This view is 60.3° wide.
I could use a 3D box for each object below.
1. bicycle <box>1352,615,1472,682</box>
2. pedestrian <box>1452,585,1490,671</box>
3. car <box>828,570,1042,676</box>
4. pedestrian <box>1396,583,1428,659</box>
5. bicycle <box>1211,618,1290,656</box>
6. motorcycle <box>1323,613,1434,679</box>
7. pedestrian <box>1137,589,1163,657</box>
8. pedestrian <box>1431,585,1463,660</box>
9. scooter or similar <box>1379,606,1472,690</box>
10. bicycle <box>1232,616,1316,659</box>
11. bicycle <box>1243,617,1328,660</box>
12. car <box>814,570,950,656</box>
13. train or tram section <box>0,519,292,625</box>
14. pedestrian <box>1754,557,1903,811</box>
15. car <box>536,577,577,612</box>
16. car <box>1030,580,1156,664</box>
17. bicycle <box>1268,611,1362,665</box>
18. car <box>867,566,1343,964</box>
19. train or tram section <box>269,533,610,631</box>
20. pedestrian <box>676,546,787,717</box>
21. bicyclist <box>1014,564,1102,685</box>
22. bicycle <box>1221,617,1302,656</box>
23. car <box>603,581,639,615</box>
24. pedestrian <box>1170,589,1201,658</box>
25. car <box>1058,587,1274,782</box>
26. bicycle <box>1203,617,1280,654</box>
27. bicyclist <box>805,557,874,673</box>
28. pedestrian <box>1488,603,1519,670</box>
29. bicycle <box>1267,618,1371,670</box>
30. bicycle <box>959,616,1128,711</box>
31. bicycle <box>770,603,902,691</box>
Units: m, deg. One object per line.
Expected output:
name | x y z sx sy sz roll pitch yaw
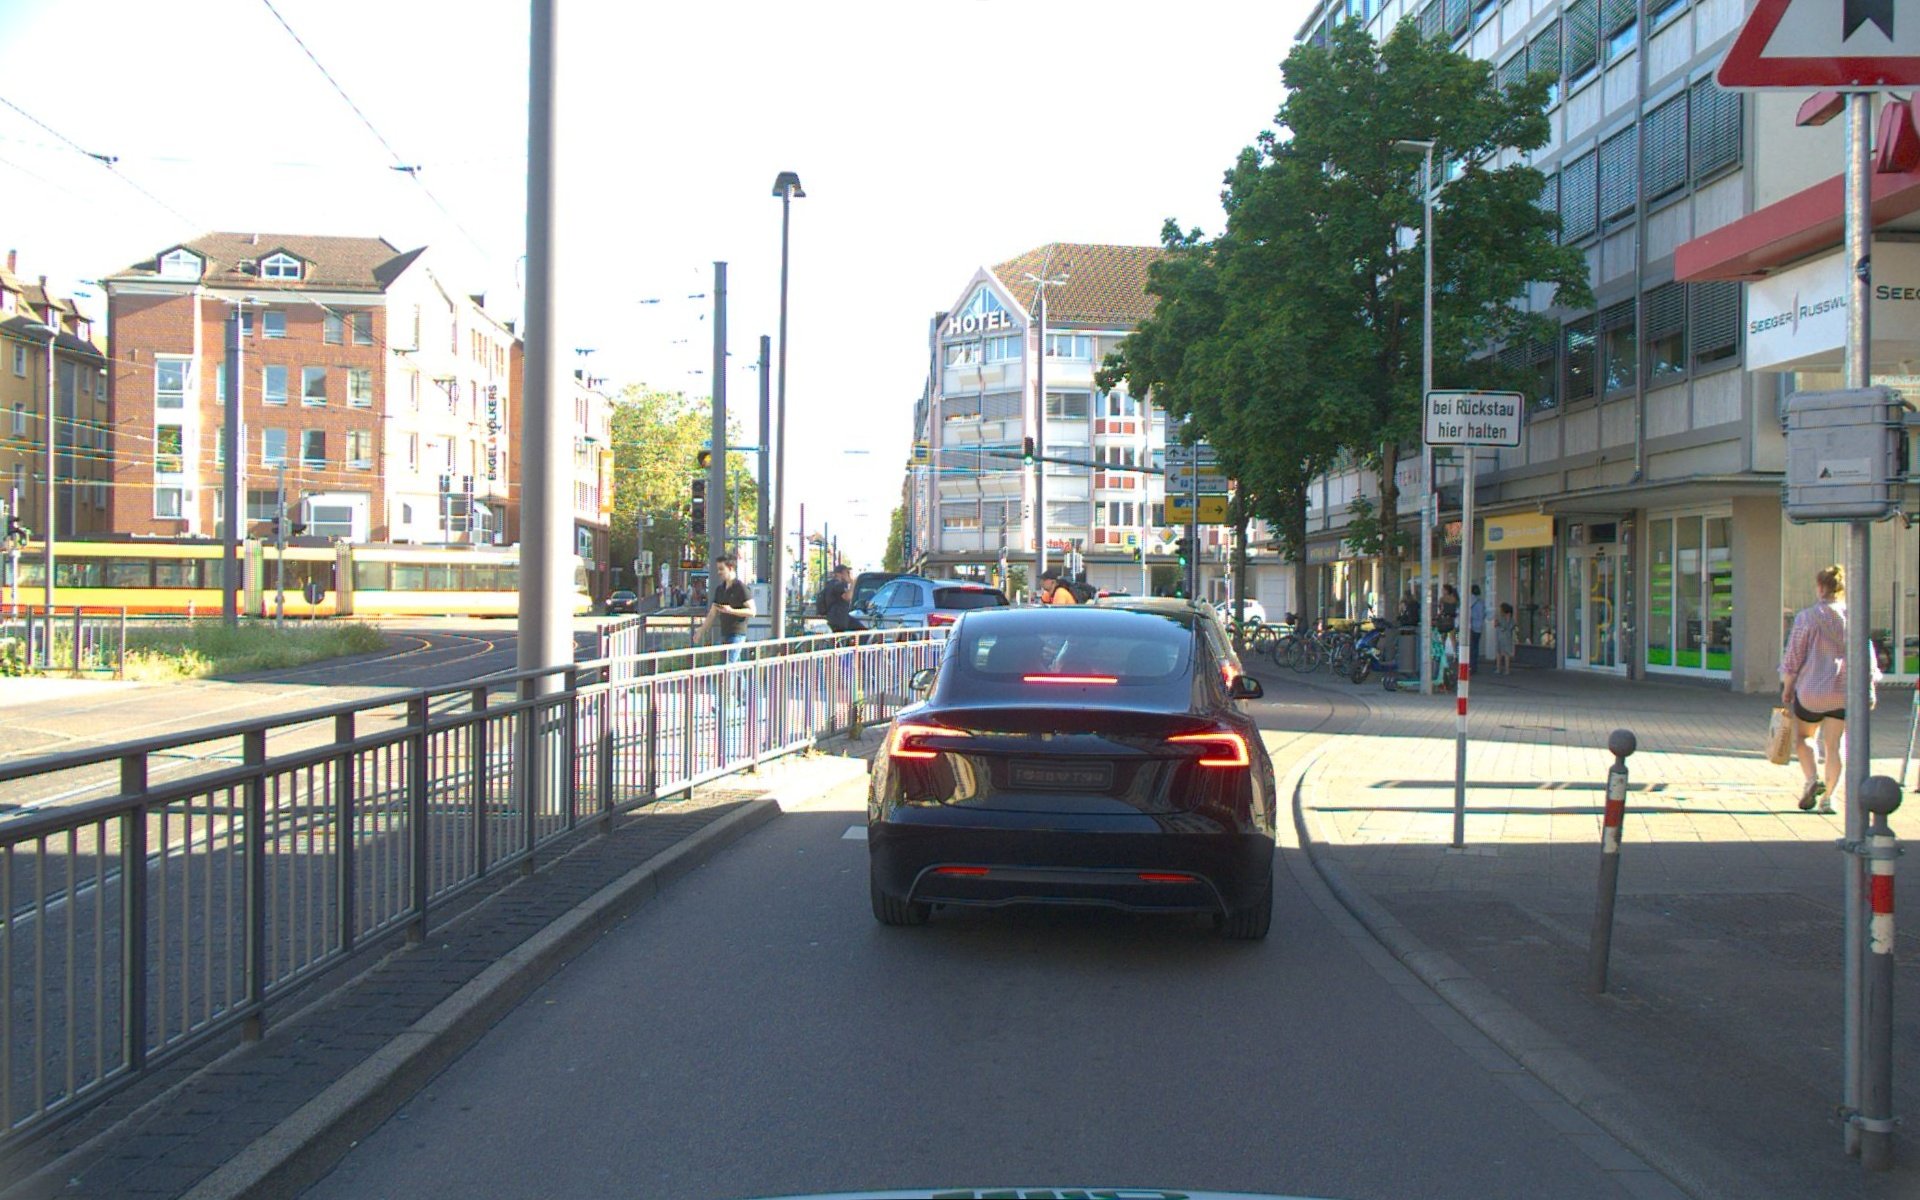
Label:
bicycle | 8.081 0.866 29.605 2.010 1.141 0.482 1 0 -2
pedestrian | 10.024 0.543 32.441 0.583 1.670 0.466 0 0 -1
car | -0.496 0.327 26.796 1.762 1.545 4.181 3 0 -27
pedestrian | 10.050 0.466 36.777 0.520 1.670 0.606 0 0 -1
bicycle | 7.331 0.926 41.798 1.885 0.906 0.526 1 0 -2
motorcycle | 7.996 0.874 31.630 1.951 1.147 0.596 3 0 -3
pedestrian | 4.861 0.578 42.330 0.550 1.712 0.750 2 0 2
pedestrian | 10.929 0.493 37.118 0.520 1.670 0.593 0 0 -1
scooter or similar | 7.658 0.786 27.224 1.393 1.340 0.690 1 -2 -28
bicycle | 7.536 0.900 39.737 1.885 0.967 0.526 1 0 -2
bicycle | 7.611 0.899 38.724 1.885 0.967 0.526 1 0 -2
car | -1.633 0.233 33.096 1.794 1.545 4.201 3 0 -15
train or tram section | -34.710 -1.140 67.054 13.960 3.780 2.663 3 0 -25
pedestrian | 6.169 0.579 11.787 0.800 1.712 0.714 2 -1 20
car | -24.864 -0.327 101.922 1.956 2.049 3.993 3 0 -8
car | 2.659 0.430 33.832 1.790 1.545 3.643 3 0 -8
bicycle | 7.664 0.824 35.734 1.885 1.116 0.554 1 0 -2
car | 0.474 0.658 8.381 1.812 1.510 3.784 2 0 -4
train or tram section | -23.152 -0.672 75.053 2.601 3.783 15.274 2 0 45
pedestrian | -2.439 0.335 17.662 0.993 1.772 0.524 3 -1 -28
bicyclist | 1.218 0.307 20.709 0.893 1.463 0.626 3 -1 -16
bicycle | 7.432 0.900 40.809 1.885 0.903 0.526 1 0 -2
car | -21.778 -0.142 106.354 1.956 2.049 3.993 3 0 -8
pedestrian | 5.414 0.556 39.757 0.616 1.642 0.643 2 0 1
car | 1.865 0.638 14.886 1.618 1.443 4.003 2 1 8
bicycle | 7.297 0.909 42.876 1.885 0.906 0.526 1 0 -2
bicyclist | -1.645 0.203 22.504 0.821 1.526 0.558 2 -1 -11
pedestrian | 10.624 0.712 32.329 0.411 1.303 0.531 0 0 -1
bicycle | 7.344 0.895 33.818 2.010 0.999 0.482 1 0 -2
bicycle | 1.039 0.787 20.656 1.941 1.091 0.771 3 0 -16
bicycle | -1.698 0.629 22.507 1.697 1.107 0.676 3 0 -11
